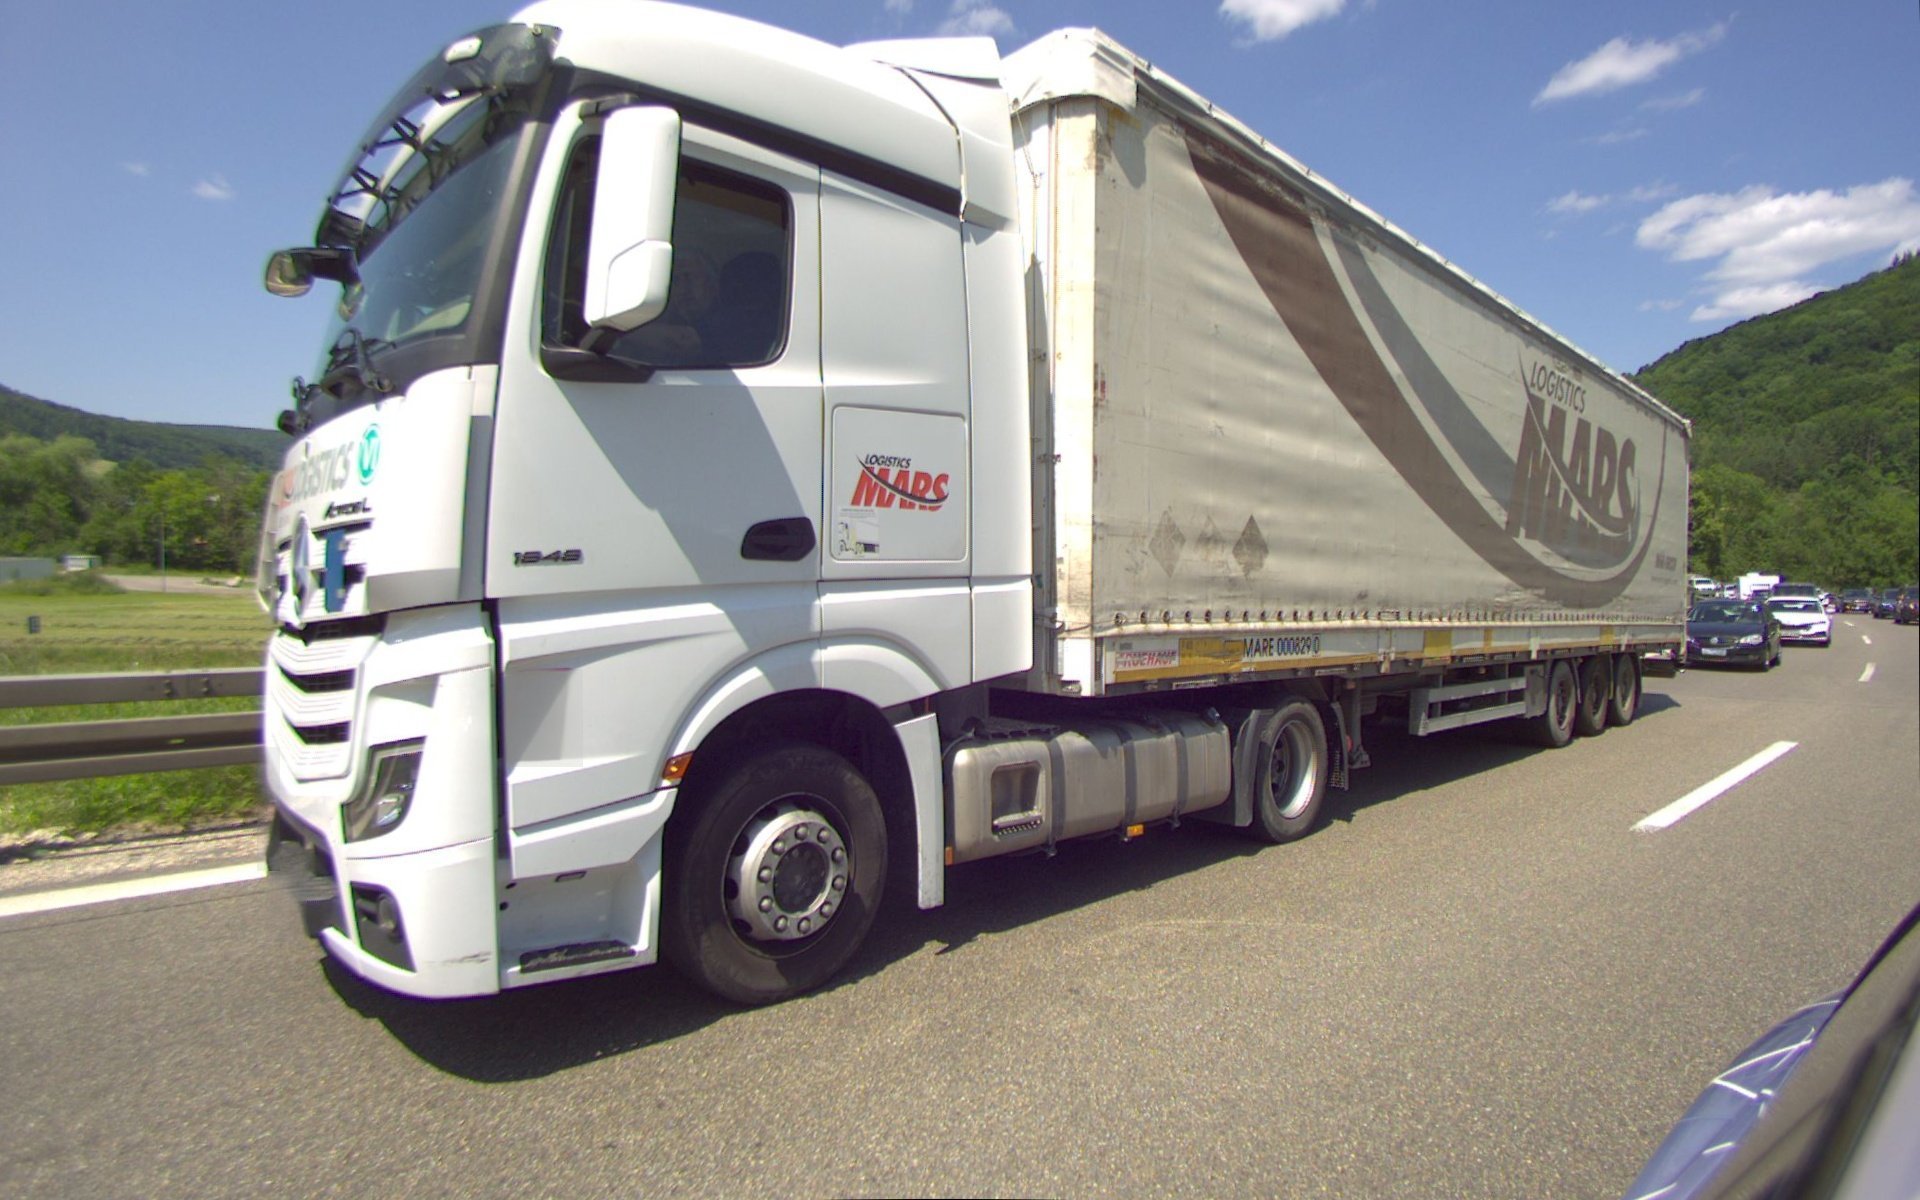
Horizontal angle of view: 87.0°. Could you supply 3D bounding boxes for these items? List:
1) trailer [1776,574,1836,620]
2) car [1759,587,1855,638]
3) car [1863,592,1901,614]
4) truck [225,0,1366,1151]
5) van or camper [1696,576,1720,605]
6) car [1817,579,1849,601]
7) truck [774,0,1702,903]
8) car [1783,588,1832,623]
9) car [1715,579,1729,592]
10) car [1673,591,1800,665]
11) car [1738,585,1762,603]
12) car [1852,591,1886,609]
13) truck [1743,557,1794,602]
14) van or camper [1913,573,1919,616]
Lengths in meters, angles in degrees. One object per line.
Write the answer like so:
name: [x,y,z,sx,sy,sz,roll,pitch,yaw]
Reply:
trailer: [38.505,-0.143,46.013,1.992,1.994,3.940,0,1,42]
car: [25.394,0.338,30.298,3.661,1.448,1.903,0,0,-45]
car: [50.059,0.143,54.961,1.486,1.123,3.165,0,0,42]
truck: [-0.348,-0.702,5.542,5.660,4.119,2.721,-1,1,-44]
van or camper: [81.153,-1.019,109.850,1.899,3.065,4.812,1,1,35]
car: [69.727,-0.803,80.879,1.521,1.658,3.375,-2,-1,35]
truck: [4.555,-0.755,10.345,13.516,4.119,2.728,-1,1,-44]
car: [36.102,0.235,43.074,1.483,1.401,3.682,-2,-1,41]
car: [92.933,-1.746,123.456,1.239,1.497,2.919,-2,-1,38]
car: [16.681,0.543,21.668,3.776,1.440,1.692,0,0,-45]
car: [71.459,-0.539,91.546,1.690,1.552,3.629,-2,-1,38]
car: [60.316,-0.006,67.174,1.485,1.123,3.169,0,0,39]
truck: [60.222,-1.435,75.465,2.589,3.147,6.767,-2,-1,36]
van or camper: [43.961,-0.221,45.321,1.812,1.890,3.557,0,0,43]
